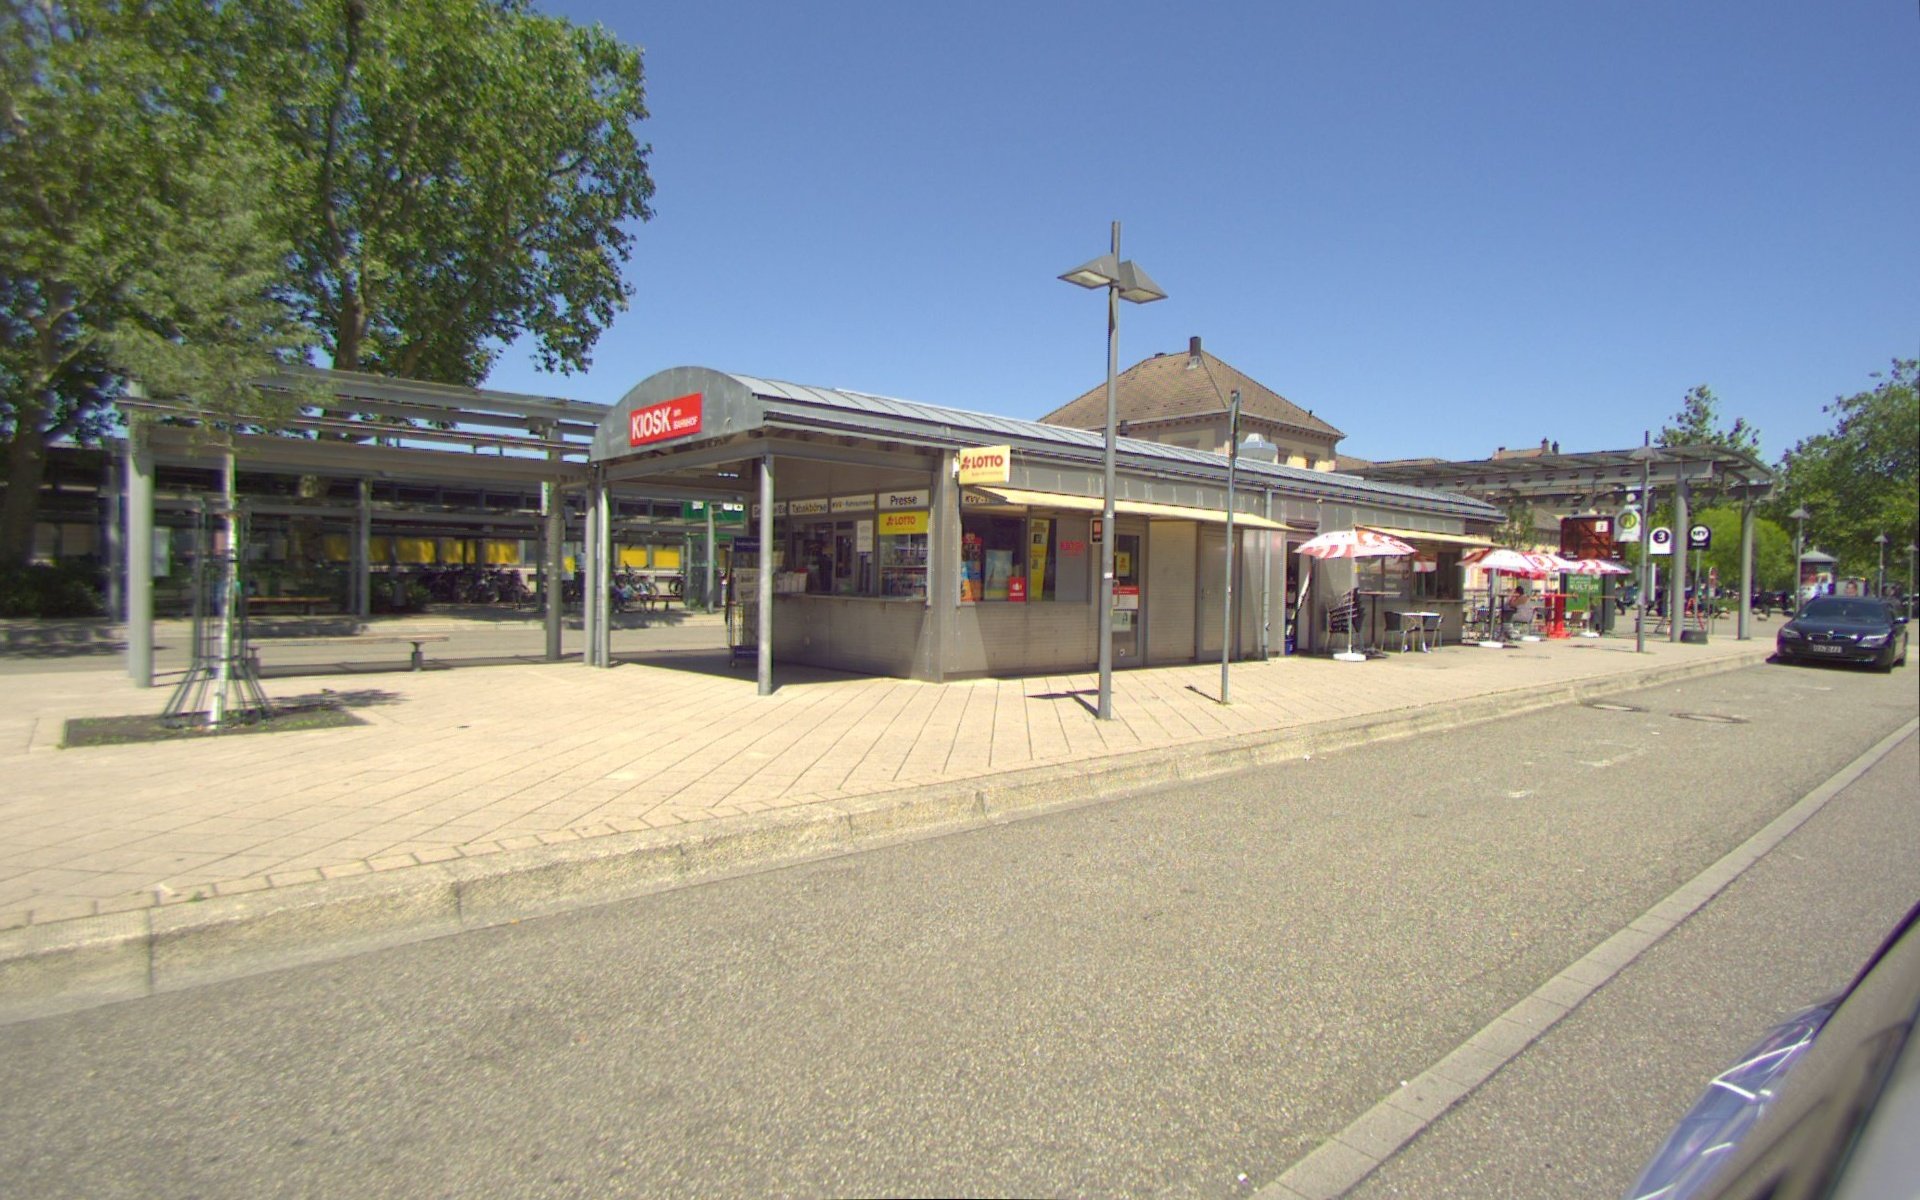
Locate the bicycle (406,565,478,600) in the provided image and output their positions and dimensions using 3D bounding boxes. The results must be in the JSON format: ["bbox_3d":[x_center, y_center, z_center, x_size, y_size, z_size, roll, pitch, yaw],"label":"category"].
[{"bbox_3d":[-18.043,-0.638,35.304,2.130,1.086,0.670,-4,6,-37],"label":"bicycle"}]

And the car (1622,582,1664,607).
[{"bbox_3d":[58.651,-0.507,86.858,3.930,2.039,1.997,0,2,-41],"label":"car"}]

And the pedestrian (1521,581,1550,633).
[{"bbox_3d":[13.979,0.159,24.588,0.502,1.247,0.505,1,1,44],"label":"pedestrian"}]

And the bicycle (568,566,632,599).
[{"bbox_3d":[-13.442,-0.678,37.869,2.131,1.086,0.670,-4,6,-37],"label":"bicycle"}]

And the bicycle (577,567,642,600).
[{"bbox_3d":[-12.814,-0.624,37.007,2.131,1.086,0.670,-4,6,-37],"label":"bicycle"}]

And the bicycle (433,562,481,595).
[{"bbox_3d":[-18.438,-0.807,37.078,2.157,1.086,0.662,3,6,37],"label":"bicycle"}]

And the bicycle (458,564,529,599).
[{"bbox_3d":[-16.291,-0.647,35.340,2.131,1.086,0.670,-4,6,-37],"label":"bicycle"}]

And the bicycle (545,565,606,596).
[{"bbox_3d":[-15.232,-0.782,40.131,2.131,1.086,0.670,-4,6,-37],"label":"bicycle"}]

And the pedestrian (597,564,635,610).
[{"bbox_3d":[-10.686,-0.422,31.416,0.816,1.403,0.962,0,1,-40],"label":"pedestrian"}]

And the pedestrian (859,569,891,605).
[{"bbox_3d":[-3.192,-0.478,38.020,0.816,1.321,0.962,0,1,-40],"label":"pedestrian"}]

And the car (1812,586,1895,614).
[{"bbox_3d":[59.035,-0.033,66.906,1.967,1.685,3.991,0,2,-44],"label":"car"}]

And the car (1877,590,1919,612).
[{"bbox_3d":[76.685,0.083,81.631,3.986,1.685,1.969,2,2,43],"label":"car"}]

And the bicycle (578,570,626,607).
[{"bbox_3d":[-11.923,-0.412,33.651,0.659,1.086,2.166,-4,6,-43],"label":"bicycle"}]

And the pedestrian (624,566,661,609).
[{"bbox_3d":[-10.056,-0.393,32.040,0.816,1.321,0.962,0,1,-40],"label":"pedestrian"}]

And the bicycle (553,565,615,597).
[{"bbox_3d":[-14.527,-0.754,39.163,2.131,1.086,0.670,-4,6,-37],"label":"bicycle"}]

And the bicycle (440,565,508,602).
[{"bbox_3d":[-16.199,-0.566,33.774,0.662,1.086,2.156,1,5,21],"label":"bicycle"}]

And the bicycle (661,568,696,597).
[{"bbox_3d":[-11.855,-0.735,42.592,0.658,1.086,2.170,-4,6,-36],"label":"bicycle"}]

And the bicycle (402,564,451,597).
[{"bbox_3d":[-19.172,-0.708,36.359,2.157,1.086,0.662,3,6,37],"label":"bicycle"}]

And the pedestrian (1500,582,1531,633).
[{"bbox_3d":[13.600,0.173,24.791,0.463,1.226,0.490,0,1,-34],"label":"pedestrian"}]

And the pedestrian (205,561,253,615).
[{"bbox_3d":[-18.027,-0.308,24.942,0.854,1.290,0.829,0,2,-44],"label":"pedestrian"}]

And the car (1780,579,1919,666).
[{"bbox_3d":[18.717,0.401,21.085,4.109,1.563,1.778,0,3,-41],"label":"car"}]
